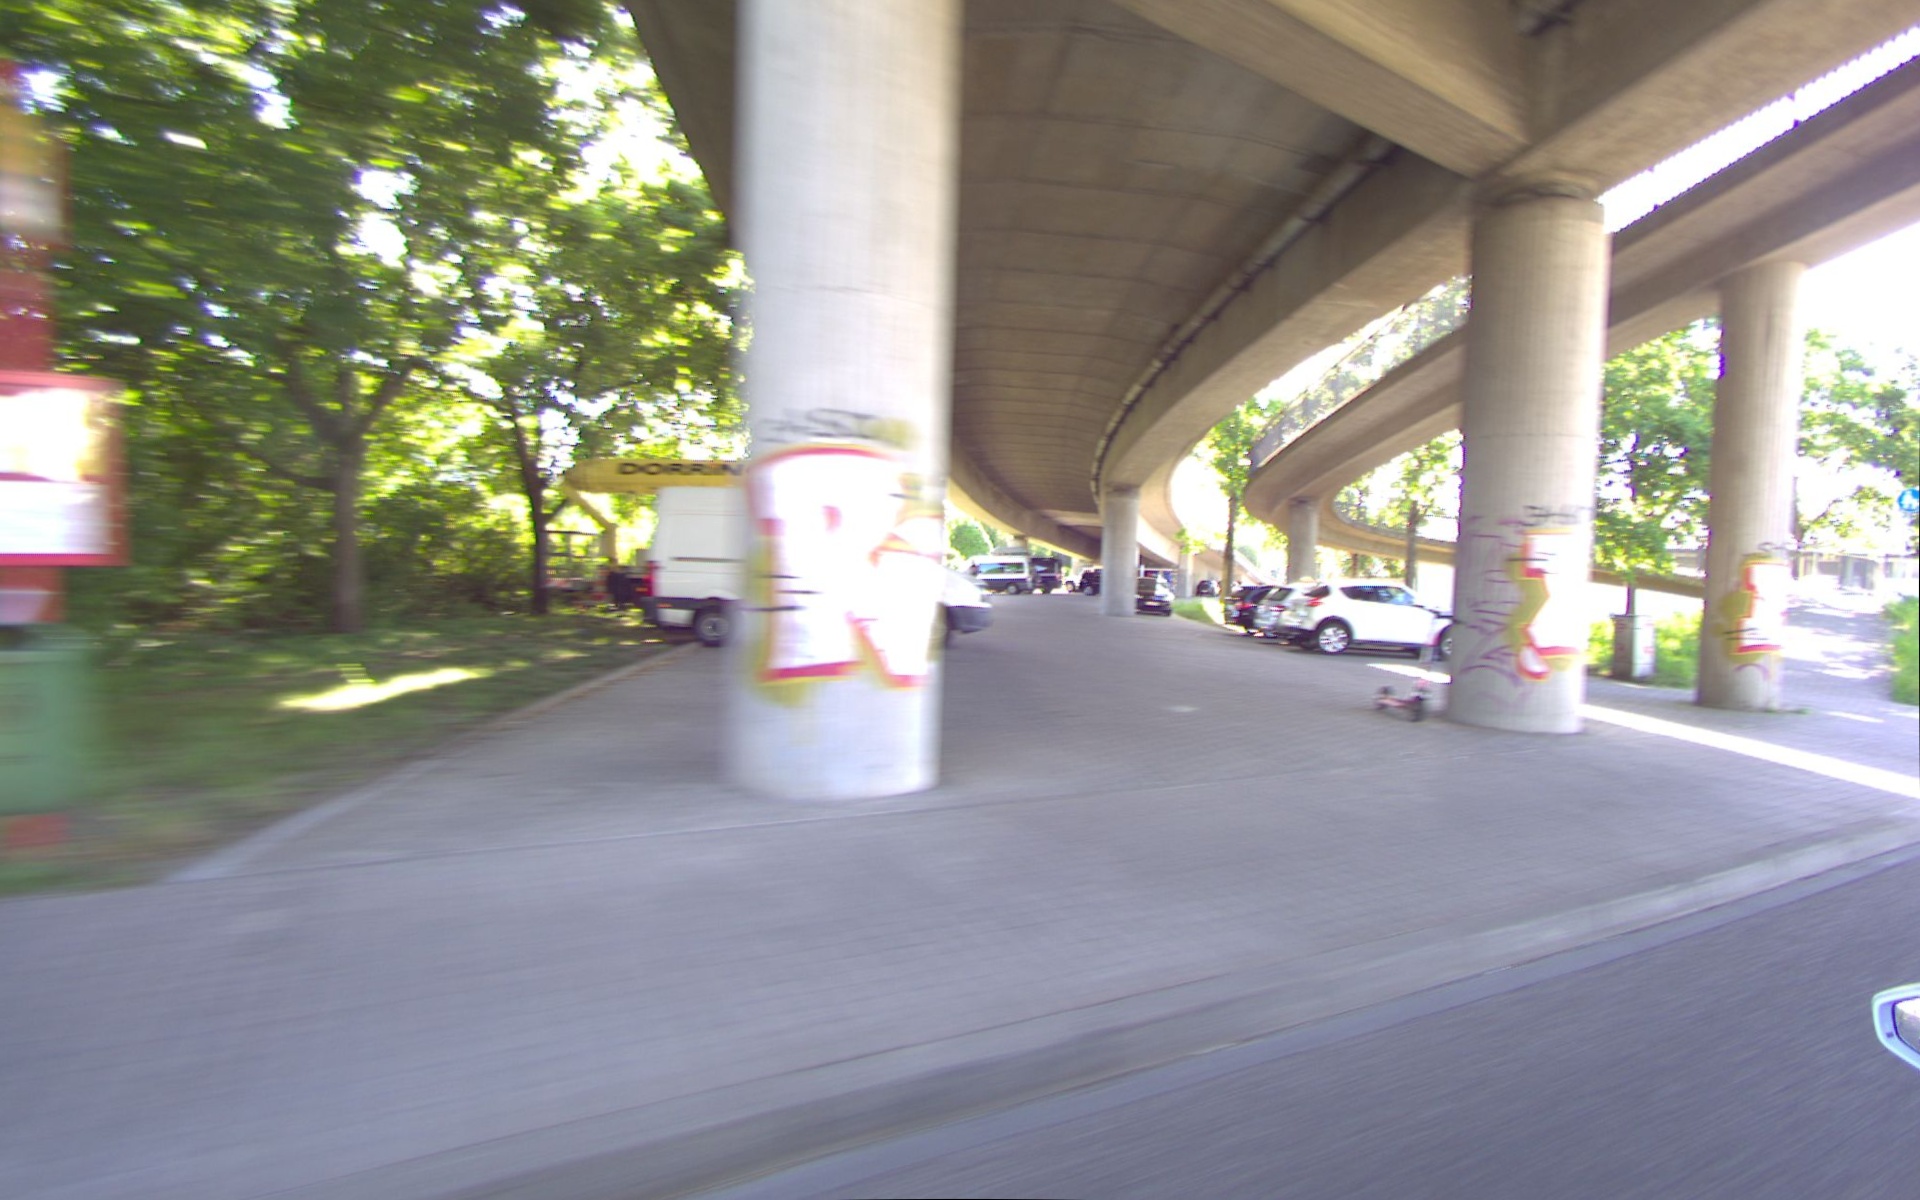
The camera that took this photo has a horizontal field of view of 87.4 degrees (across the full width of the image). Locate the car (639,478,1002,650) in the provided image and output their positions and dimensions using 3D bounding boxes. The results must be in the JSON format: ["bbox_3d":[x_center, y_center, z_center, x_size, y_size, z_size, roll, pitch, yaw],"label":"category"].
[{"bbox_3d":[-2.303,-0.595,17.419,5.892,2.718,1.946,1,2,-3],"label":"car"}]

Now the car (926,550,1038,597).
[{"bbox_3d":[1.339,-1.564,59.250,6.275,2.540,2.001,2,2,11],"label":"car"}]

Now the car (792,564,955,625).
[{"bbox_3d":[-2.294,-0.155,27.299,4.165,1.461,1.740,2,2,3],"label":"car"}]

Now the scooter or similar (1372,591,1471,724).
[{"bbox_3d":[4.935,0.574,10.816,0.567,1.318,1.309,2,2,8],"label":"scooter or similar"}]

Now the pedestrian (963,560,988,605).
[{"bbox_3d":[0.597,-0.686,38.312,0.699,1.685,0.665,1,2,-21],"label":"pedestrian"}]

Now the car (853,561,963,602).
[{"bbox_3d":[-2.054,-0.754,40.386,4.164,1.461,1.741,2,2,6],"label":"car"}]

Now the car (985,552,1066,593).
[{"bbox_3d":[4.445,-1.861,67.866,5.098,2.507,2.001,2,2,15],"label":"car"}]

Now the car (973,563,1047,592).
[{"bbox_3d":[3.184,-1.423,63.939,4.393,1.666,2.001,2,2,11],"label":"car"}]

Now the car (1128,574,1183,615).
[{"bbox_3d":[7.988,-0.266,41.417,1.650,1.573,4.299,2,1,4],"label":"car"}]

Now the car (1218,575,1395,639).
[{"bbox_3d":[9.408,0.178,27.465,4.215,1.573,1.683,2,1,-2],"label":"car"}]

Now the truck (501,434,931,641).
[{"bbox_3d":[-4.639,-1.213,19.912,7.807,3.599,2.483,2,2,4],"label":"truck"}]

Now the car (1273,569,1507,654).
[{"bbox_3d":[9.033,0.257,21.380,4.196,1.663,1.870,1,-1,3],"label":"car"}]

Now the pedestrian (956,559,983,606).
[{"bbox_3d":[0.358,-0.653,37.225,0.699,1.685,0.666,3,2,37],"label":"pedestrian"}]

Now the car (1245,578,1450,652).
[{"bbox_3d":[9.181,0.330,24.010,4.215,1.573,1.683,2,1,-2],"label":"car"}]
